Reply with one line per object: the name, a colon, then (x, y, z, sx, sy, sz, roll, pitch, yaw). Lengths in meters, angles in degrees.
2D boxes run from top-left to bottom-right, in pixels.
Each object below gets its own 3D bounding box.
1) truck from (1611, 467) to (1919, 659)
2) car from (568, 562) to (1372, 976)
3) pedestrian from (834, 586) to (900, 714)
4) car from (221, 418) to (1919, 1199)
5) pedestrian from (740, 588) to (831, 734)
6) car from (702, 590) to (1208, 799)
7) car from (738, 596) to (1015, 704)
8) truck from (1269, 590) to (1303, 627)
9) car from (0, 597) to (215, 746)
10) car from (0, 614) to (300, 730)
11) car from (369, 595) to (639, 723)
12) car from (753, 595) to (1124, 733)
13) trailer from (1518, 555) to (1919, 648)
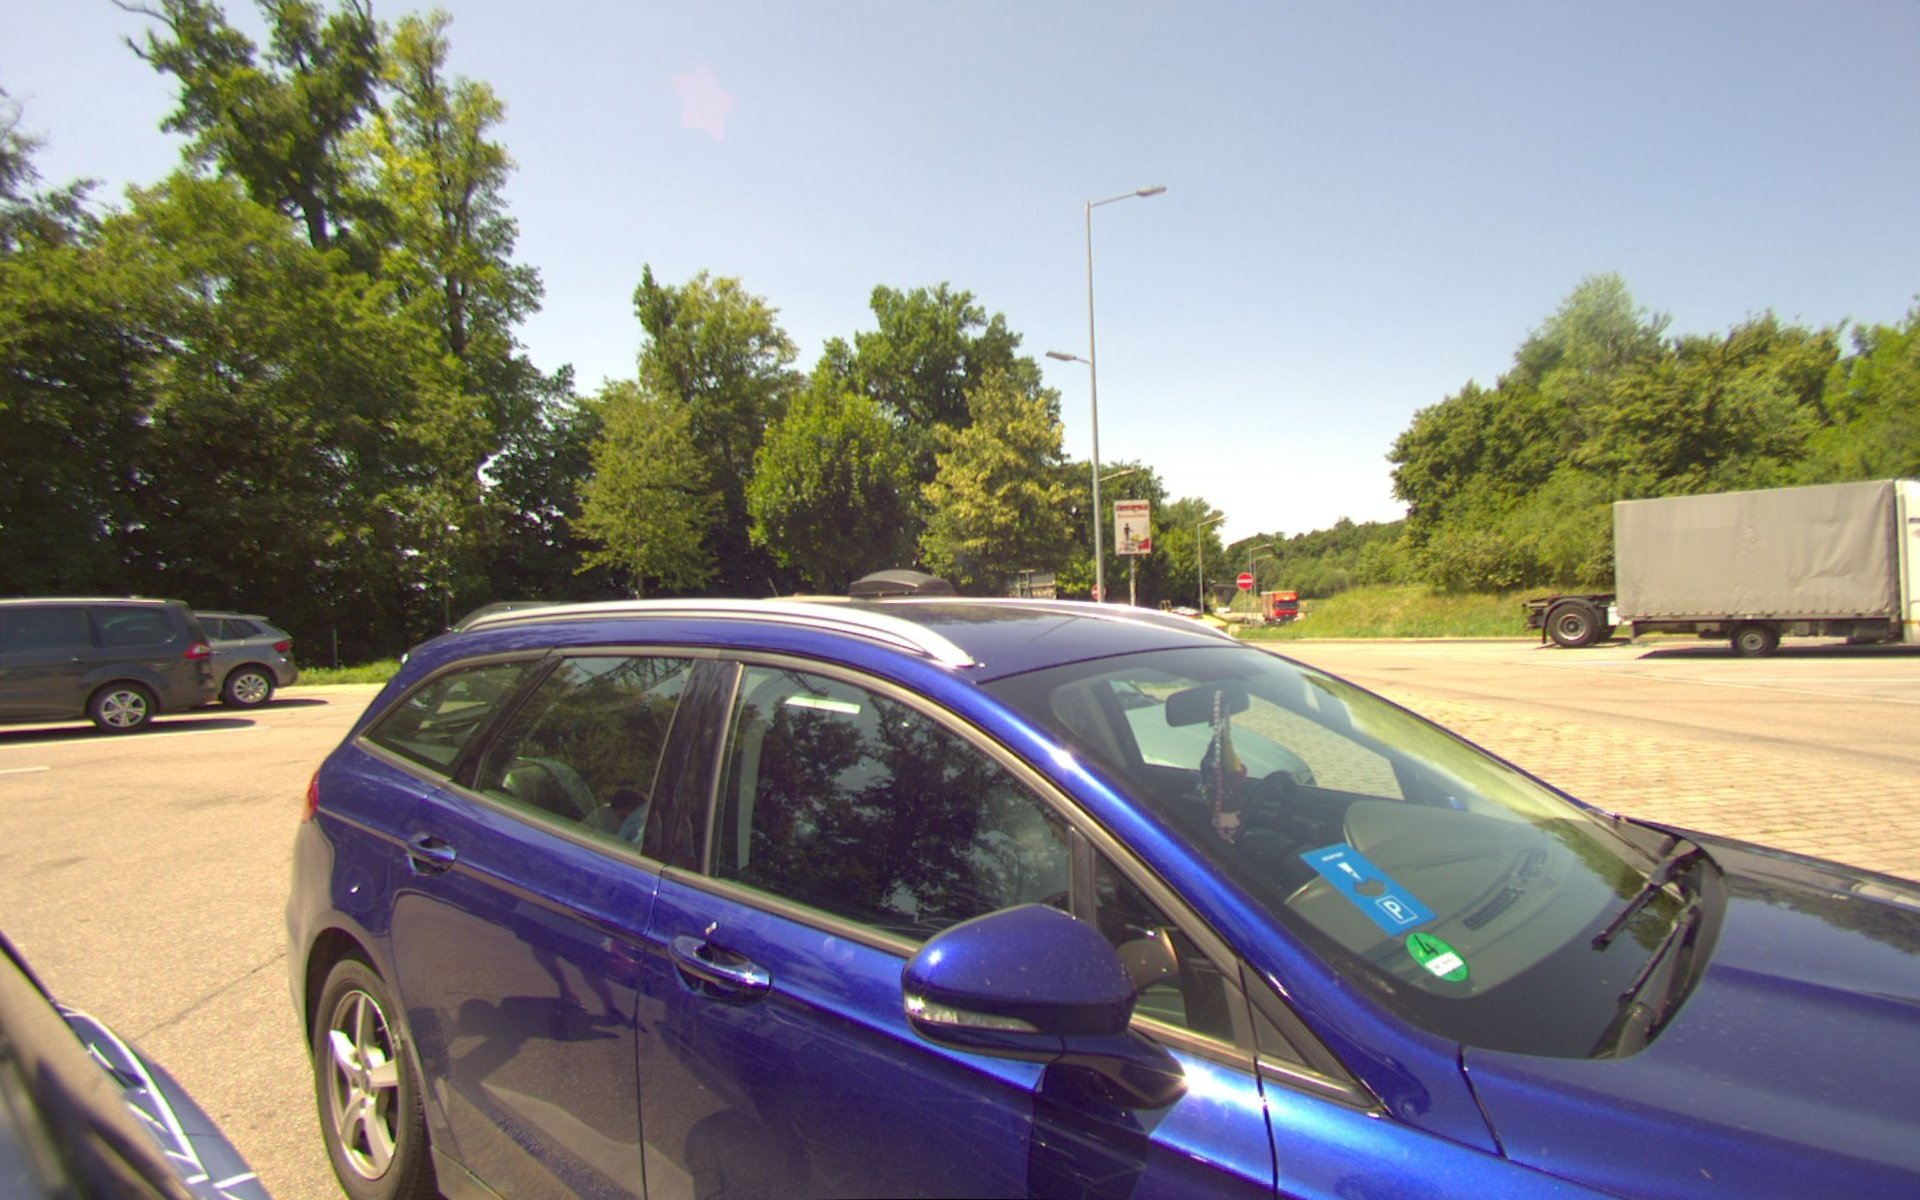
truck: (16.835, -0.662, 18.952, 7.295, 3.259, 2.709, -4, -1, 43)
car: (-0.248, 0.690, 5.821, 4.490, 1.511, 1.754, -3, -1, 40)
pedestrian: (-1.319, 0.691, 14.273, 0.820, 1.746, 0.677, -1, -1, -13)
car: (0.265, 0.657, 2.123, 4.490, 1.502, 1.851, -3, 0, 40)
pedestrian: (-2.093, 0.707, 12.150, 0.831, 1.676, 0.668, -2, -1, 33)
car: (-0.235, 0.745, 9.195, 4.490, 1.437, 1.754, -3, -1, 40)
car: (-1.469, 0.822, 16.842, 4.485, 1.562, 1.756, -3, -1, 36)
truck: (39.233, 0.934, 122.151, 3.104, 4.150, 15.326, -1, 0, 15)
car: (-11.933, 0.857, 12.283, 4.553, 1.725, 1.741, 0, -1, -41)
car: (-12.588, 1.002, 15.447, 1.687, 1.515, 3.943, -1, 0, 43)
car: (-6.939, 0.820, 16.057, 1.974, 1.725, 4.612, -1, 0, 4)
car: (-0.377, 0.771, 12.743, 4.485, 1.437, 1.756, -3, -1, 36)
trailer: (17.260, 0.119, 23.380, 7.295, 1.701, 2.235, -4, -1, 43)
